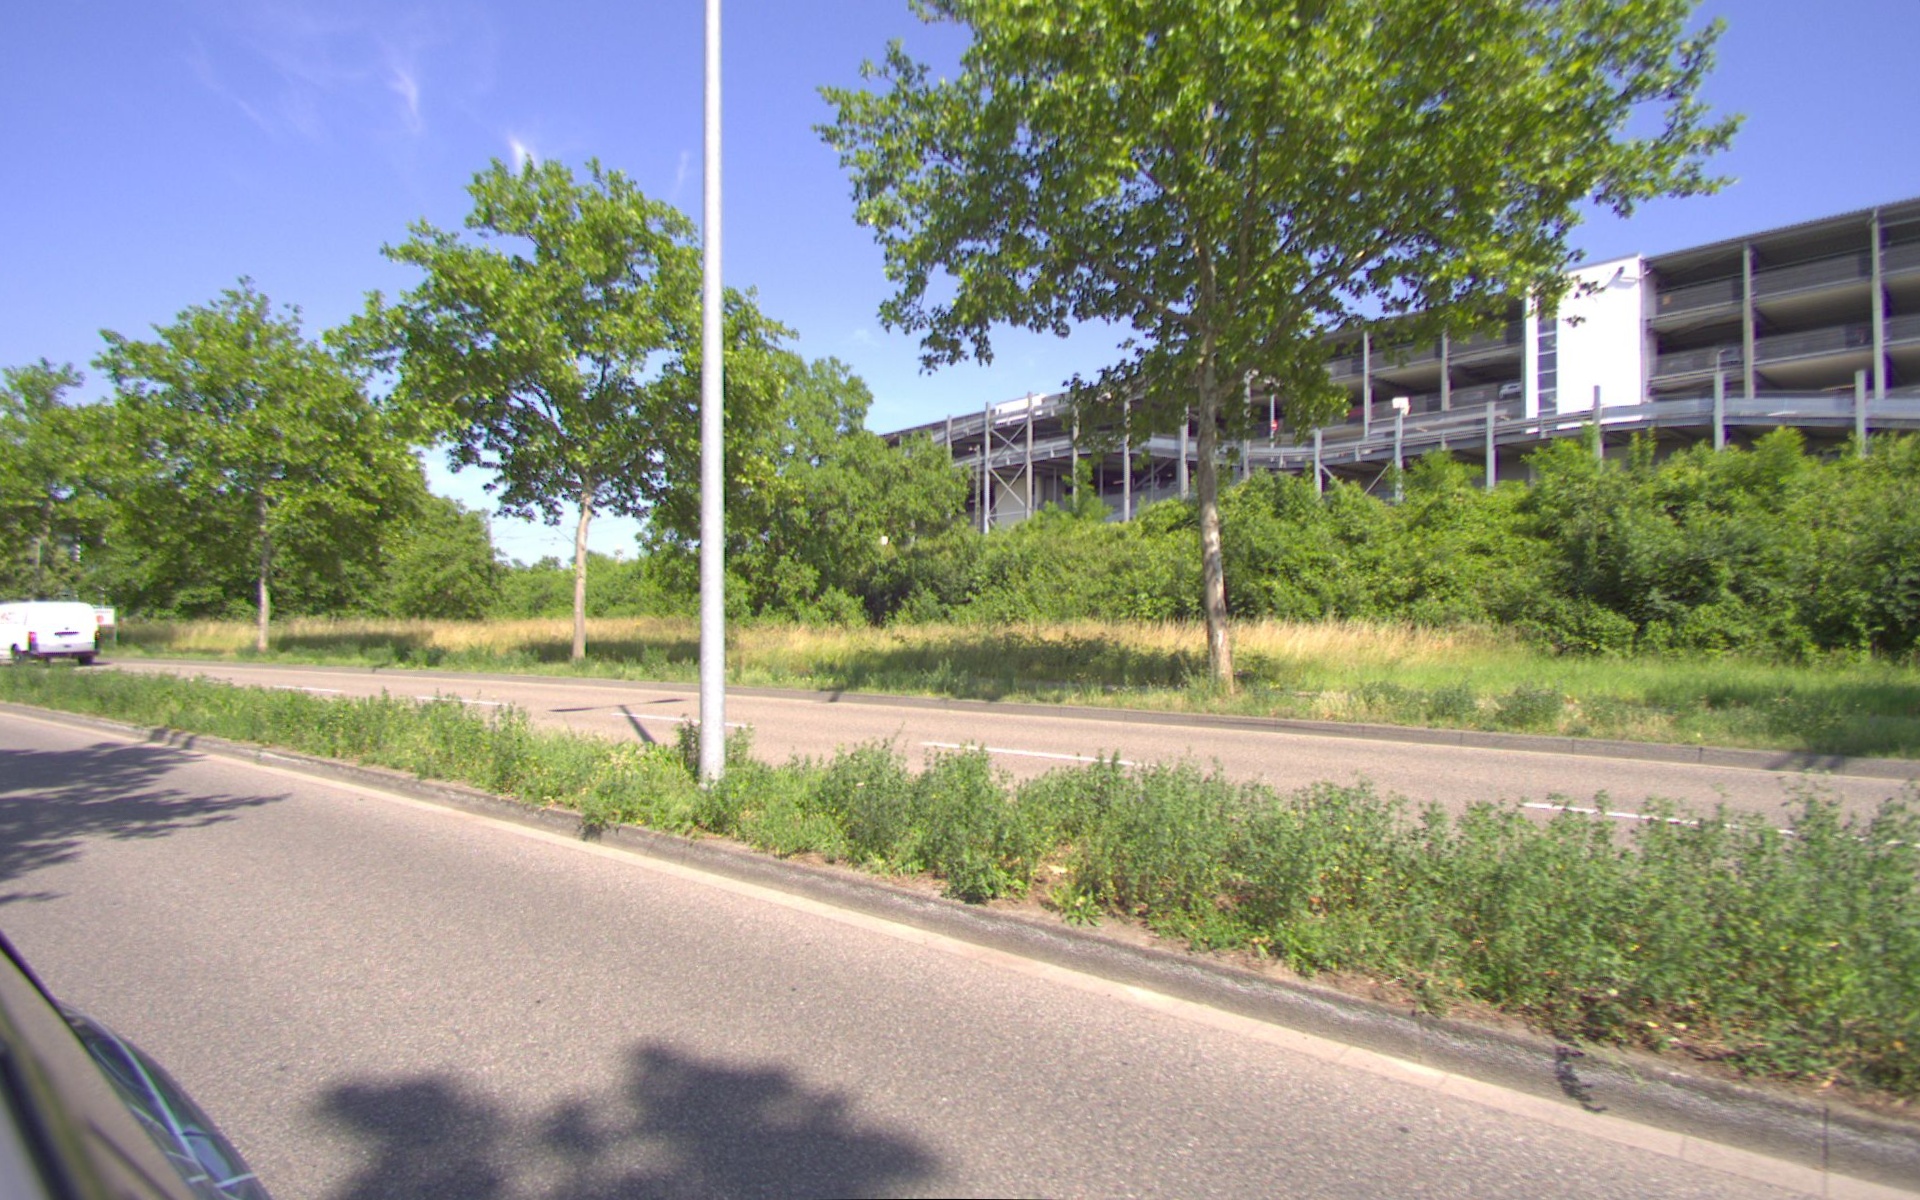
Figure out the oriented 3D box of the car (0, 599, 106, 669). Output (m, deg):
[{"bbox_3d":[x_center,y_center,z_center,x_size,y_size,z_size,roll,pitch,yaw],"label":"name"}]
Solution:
[{"bbox_3d":[-28.898,1.029,31.471,4.493,2.029,1.982,-1,-1,27],"label":"car"}]
